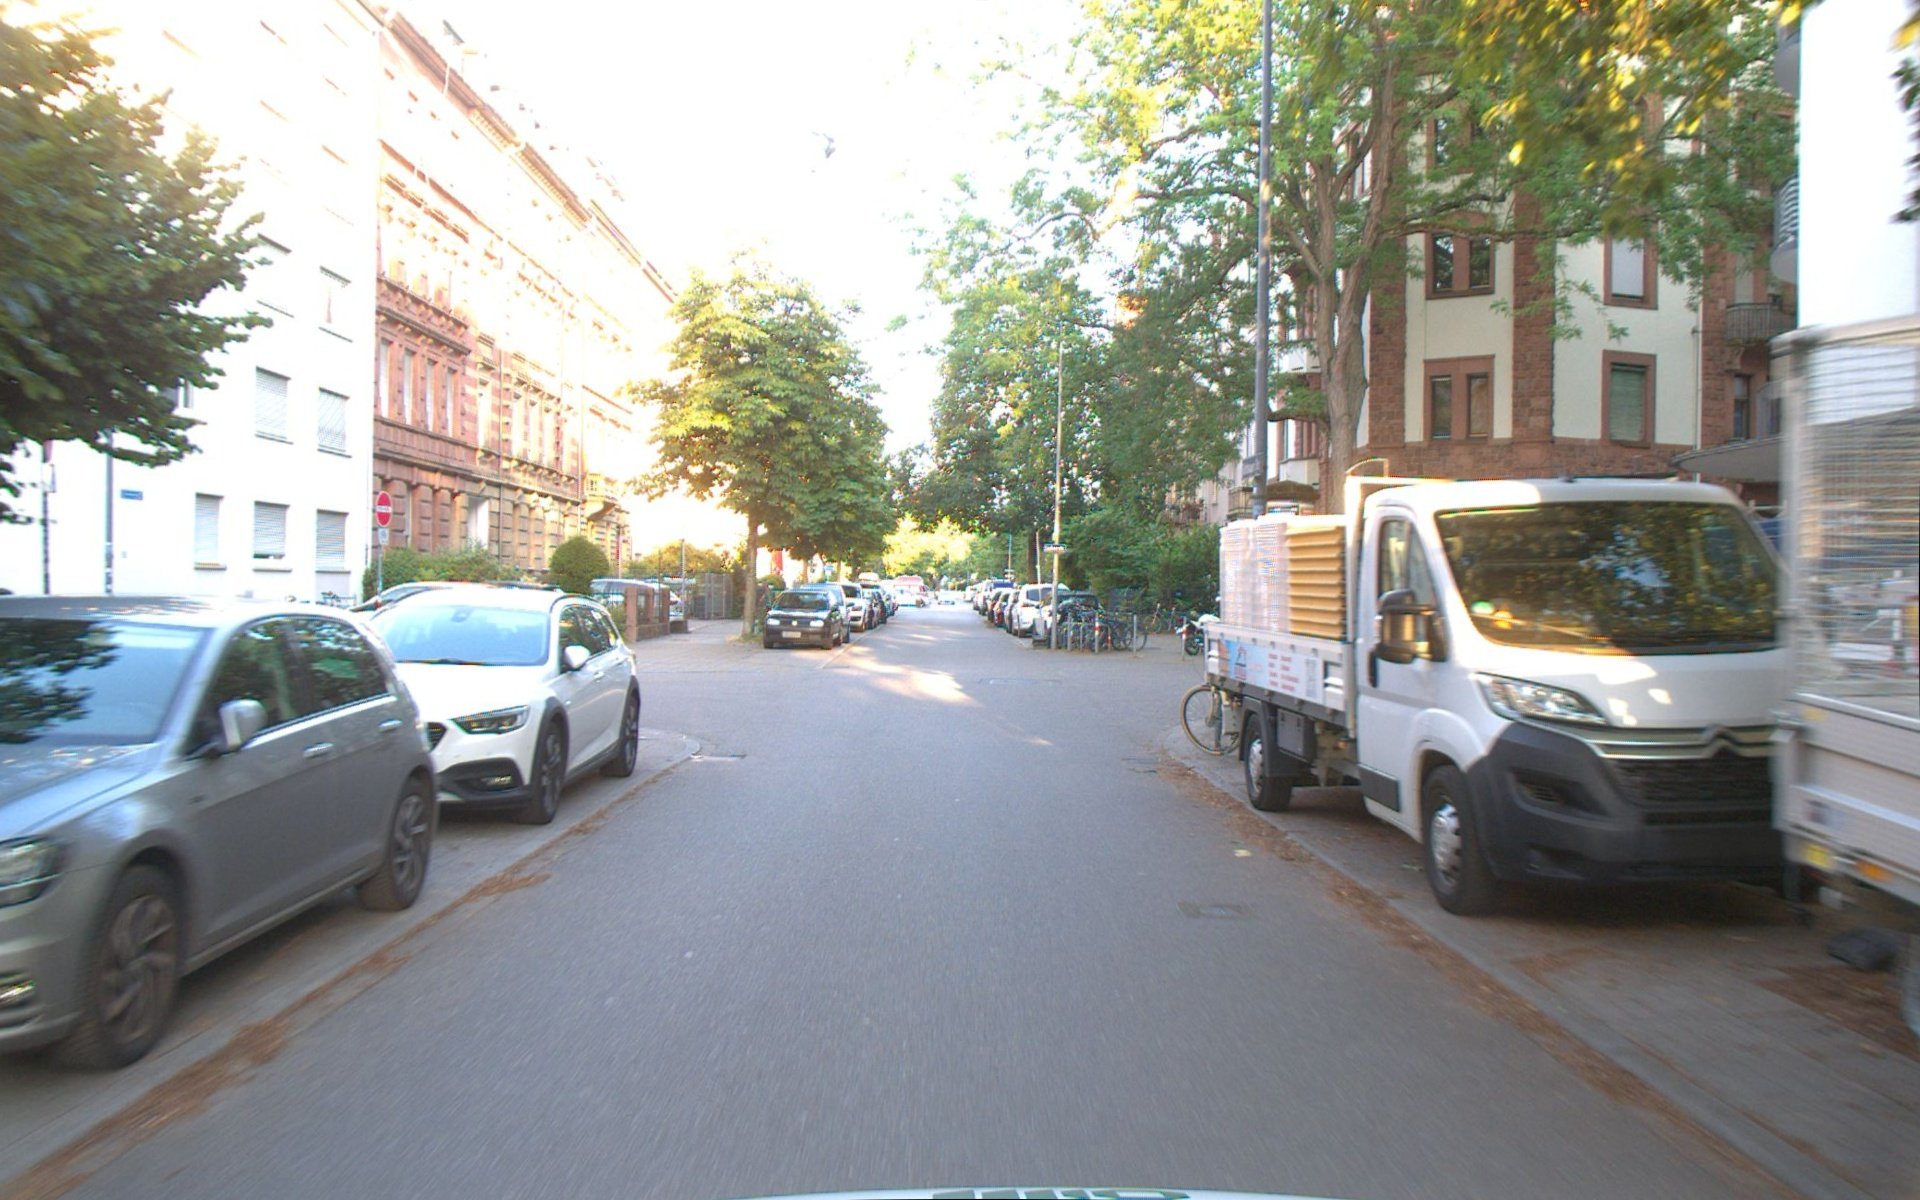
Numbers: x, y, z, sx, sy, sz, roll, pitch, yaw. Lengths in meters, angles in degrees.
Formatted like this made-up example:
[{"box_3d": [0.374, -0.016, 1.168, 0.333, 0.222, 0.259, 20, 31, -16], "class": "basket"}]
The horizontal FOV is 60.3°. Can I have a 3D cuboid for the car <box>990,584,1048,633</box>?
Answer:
[{"box_3d": [2.048, 0.292, 58.301, 1.653, 1.634, 4.207, 1, 0, -3], "class": "car"}]

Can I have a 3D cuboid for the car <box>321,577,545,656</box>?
[{"box_3d": [-10.810, 0.311, 34.049, 4.005, 1.472, 1.819, 1, 1, 9], "class": "car"}]

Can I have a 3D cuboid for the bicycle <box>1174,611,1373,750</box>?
[{"box_3d": [3.084, 0.783, 16.292, 1.866, 1.280, 0.406, -2, 0, -7], "class": "bicycle"}]

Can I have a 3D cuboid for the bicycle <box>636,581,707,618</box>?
[{"box_3d": [-10.870, -0.020, 62.384, 2.475, 1.212, 0.644, 4, 1, 5], "class": "bicycle"}]

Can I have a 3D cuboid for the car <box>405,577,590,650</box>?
[{"box_3d": [-10.220, 0.272, 36.688, 3.487, 1.472, 1.819, 1, 1, 8], "class": "car"}]

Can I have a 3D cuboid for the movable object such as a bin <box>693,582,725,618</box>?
[{"box_3d": [-9.839, 0.002, 64.845, 0.991, 1.344, 1.005, 3, 1, 4], "class": "movable object such as a bin"}]

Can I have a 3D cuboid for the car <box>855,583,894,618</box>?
[{"box_3d": [-4.044, 0.014, 78.679, 1.681, 1.624, 4.518, 1, 0, -1], "class": "car"}]

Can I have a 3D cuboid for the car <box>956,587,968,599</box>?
[{"box_3d": [0.293, -0.970, 235.837, 1.681, 1.624, 3.482, 1, 1, -1], "class": "car"}]

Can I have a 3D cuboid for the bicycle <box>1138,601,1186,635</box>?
[{"box_3d": [6.521, 0.577, 53.419, 1.479, 1.052, 0.330, -1, 1, -3], "class": "bicycle"}]

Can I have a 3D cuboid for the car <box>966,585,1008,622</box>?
[{"box_3d": [1.242, 0.177, 76.476, 1.653, 1.634, 3.937, 1, 0, -3], "class": "car"}]

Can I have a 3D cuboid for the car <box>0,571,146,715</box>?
[{"box_3d": [-11.942, 0.463, 18.937, 4.371, 1.579, 1.705, 0, 1, -11], "class": "car"}]

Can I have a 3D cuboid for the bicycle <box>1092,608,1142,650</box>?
[{"box_3d": [3.955, 0.728, 41.679, 1.200, 1.005, 0.330, -1, 1, -4], "class": "bicycle"}]

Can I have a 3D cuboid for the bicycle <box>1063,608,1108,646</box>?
[{"box_3d": [3.342, 0.713, 43.924, 1.210, 0.968, 0.327, 0, 1, -29], "class": "bicycle"}]

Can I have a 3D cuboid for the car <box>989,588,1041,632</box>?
[{"box_3d": [2.069, 0.372, 63.096, 1.653, 1.634, 3.746, 1, 0, -3], "class": "car"}]

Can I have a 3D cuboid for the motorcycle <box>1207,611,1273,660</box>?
[{"box_3d": [6.770, 0.833, 39.913, 0.430, 1.098, 2.197, 2, 2, 44], "class": "motorcycle"}]

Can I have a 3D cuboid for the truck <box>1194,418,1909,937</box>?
[{"box_3d": [3.115, 0.347, 10.724, 1.937, 2.284, 6.773, 0, 0, -3], "class": "truck"}]

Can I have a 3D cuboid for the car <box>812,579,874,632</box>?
[{"box_3d": [-4.078, 0.158, 58.034, 1.882, 1.747, 4.427, 1, 1, -1], "class": "car"}]

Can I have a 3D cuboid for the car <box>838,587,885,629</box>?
[{"box_3d": [-3.916, 0.289, 66.333, 1.681, 1.593, 3.787, 1, 1, -1], "class": "car"}]

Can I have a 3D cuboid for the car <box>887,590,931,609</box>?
[{"box_3d": [-4.201, -0.043, 136.481, 3.547, 1.487, 1.605, 1, 0, -5], "class": "car"}]

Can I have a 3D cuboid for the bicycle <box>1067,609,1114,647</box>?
[{"box_3d": [3.428, 0.727, 43.312, 1.207, 0.964, 0.328, 0, 1, -23], "class": "bicycle"}]

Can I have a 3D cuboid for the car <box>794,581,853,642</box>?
[{"box_3d": [-3.847, 0.287, 46.851, 1.564, 1.631, 3.741, 1, 1, -4], "class": "car"}]

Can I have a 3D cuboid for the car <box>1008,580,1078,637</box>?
[{"box_3d": [2.619, 0.249, 53.067, 1.762, 1.741, 4.598, 0, 0, -3], "class": "car"}]

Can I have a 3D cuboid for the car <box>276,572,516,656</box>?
[{"box_3d": [-10.763, 0.241, 31.686, 4.005, 1.472, 1.711, 1, 1, 8], "class": "car"}]

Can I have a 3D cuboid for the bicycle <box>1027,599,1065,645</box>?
[{"box_3d": [2.310, 0.574, 44.132, 0.434, 1.193, 1.635, 1, 0, 24], "class": "bicycle"}]

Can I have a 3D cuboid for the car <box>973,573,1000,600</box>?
[{"box_3d": [1.880, -0.944, 117.467, 1.653, 1.843, 3.937, 1, 0, -3], "class": "car"}]

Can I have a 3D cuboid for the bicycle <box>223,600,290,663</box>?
[{"box_3d": [-12.668, 0.553, 29.829, 0.387, 1.081, 1.878, 1, 0, 0], "class": "bicycle"}]

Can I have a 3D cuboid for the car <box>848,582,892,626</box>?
[{"box_3d": [-3.874, 0.128, 71.827, 1.681, 1.821, 4.215, 1, 1, -1], "class": "car"}]

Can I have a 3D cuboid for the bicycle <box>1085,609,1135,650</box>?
[{"box_3d": [3.750, 0.743, 41.303, 1.199, 1.004, 0.330, -1, 1, -3], "class": "bicycle"}]

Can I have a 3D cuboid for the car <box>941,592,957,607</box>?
[{"box_3d": [-1.230, -0.076, 183.214, 1.776, 1.624, 3.482, 1, 1, -1], "class": "car"}]

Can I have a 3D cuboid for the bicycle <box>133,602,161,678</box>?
[{"box_3d": [-12.725, 0.606, 25.883, 0.361, 1.136, 1.836, 1, 0, -26], "class": "bicycle"}]

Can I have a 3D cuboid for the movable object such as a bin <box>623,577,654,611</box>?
[{"box_3d": [-12.628, -0.237, 64.989, 1.078, 1.230, 1.001, 3, 1, -15], "class": "movable object such as a bin"}]

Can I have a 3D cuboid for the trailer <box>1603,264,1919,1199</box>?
[{"box_3d": [3.338, 0.320, 3.641, 1.914, 2.335, 4.644, -2, 1, -1], "class": "trailer"}]

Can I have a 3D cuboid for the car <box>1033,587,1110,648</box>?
[{"box_3d": [3.143, 0.466, 47.178, 1.654, 1.620, 3.655, 1, 1, -5], "class": "car"}]

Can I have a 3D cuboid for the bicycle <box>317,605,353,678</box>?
[{"box_3d": [-10.174, 0.660, 26.916, 0.361, 1.128, 1.836, 1, 0, -26], "class": "bicycle"}]

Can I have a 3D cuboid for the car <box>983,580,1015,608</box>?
[{"box_3d": [2.174, -0.325, 92.650, 1.508, 1.548, 3.429, 1, 0, -3], "class": "car"}]

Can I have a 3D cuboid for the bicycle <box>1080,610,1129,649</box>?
[{"box_3d": [3.697, 0.750, 42.223, 1.205, 0.980, 0.329, 0, 1, -18], "class": "bicycle"}]

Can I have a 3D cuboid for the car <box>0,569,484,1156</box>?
[{"box_3d": [-3.300, 0.684, 6.490, 1.655, 1.528, 4.401, 0, 0, -1], "class": "car"}]

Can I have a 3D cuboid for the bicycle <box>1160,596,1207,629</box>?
[{"box_3d": [7.326, 0.419, 54.145, 1.479, 1.052, 0.330, -1, 1, -3], "class": "bicycle"}]

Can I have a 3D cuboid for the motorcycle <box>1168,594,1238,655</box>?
[{"box_3d": [6.005, 0.583, 40.782, 0.575, 1.432, 2.199, 1, 2, 43], "class": "motorcycle"}]

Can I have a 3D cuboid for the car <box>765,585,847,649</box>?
[{"box_3d": [-3.871, 0.396, 42.056, 1.583, 1.496, 3.962, 1, 1, 2], "class": "car"}]

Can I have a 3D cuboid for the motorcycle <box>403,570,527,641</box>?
[{"box_3d": [-11.844, 0.125, 39.579, 2.791, 1.667, 0.675, 1, 0, 7], "class": "motorcycle"}]

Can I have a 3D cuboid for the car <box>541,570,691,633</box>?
[{"box_3d": [-10.128, 0.036, 48.933, 4.011, 1.554, 1.708, 4, 0, -2], "class": "car"}]

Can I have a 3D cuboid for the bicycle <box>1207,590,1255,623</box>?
[{"box_3d": [8.799, 0.209, 53.717, 1.479, 1.052, 0.330, -1, 1, -3], "class": "bicycle"}]

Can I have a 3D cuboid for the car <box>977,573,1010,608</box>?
[{"box_3d": [1.954, -0.565, 96.771, 1.646, 1.975, 3.878, 1, 0, -3], "class": "car"}]

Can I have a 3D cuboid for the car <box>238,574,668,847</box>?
[{"box_3d": [-3.427, 0.627, 12.186, 1.655, 1.528, 4.738, 3, 1, 0], "class": "car"}]

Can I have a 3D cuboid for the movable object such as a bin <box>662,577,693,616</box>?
[{"box_3d": [-11.044, -0.152, 64.658, 1.078, 1.439, 1.001, 3, 1, -15], "class": "movable object such as a bin"}]

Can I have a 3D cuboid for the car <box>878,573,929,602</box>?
[{"box_3d": [-4.742, -1.039, 139.359, 4.262, 2.358, 1.745, 1, 0, -2], "class": "car"}]

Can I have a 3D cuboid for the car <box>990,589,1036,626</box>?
[{"box_3d": [2.160, 0.300, 68.440, 1.652, 1.466, 4.209, -1, 0, -1], "class": "car"}]

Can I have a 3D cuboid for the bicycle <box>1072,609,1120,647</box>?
[{"box_3d": [3.506, 0.716, 42.613, 1.207, 0.974, 0.328, 0, 1, -23], "class": "bicycle"}]
